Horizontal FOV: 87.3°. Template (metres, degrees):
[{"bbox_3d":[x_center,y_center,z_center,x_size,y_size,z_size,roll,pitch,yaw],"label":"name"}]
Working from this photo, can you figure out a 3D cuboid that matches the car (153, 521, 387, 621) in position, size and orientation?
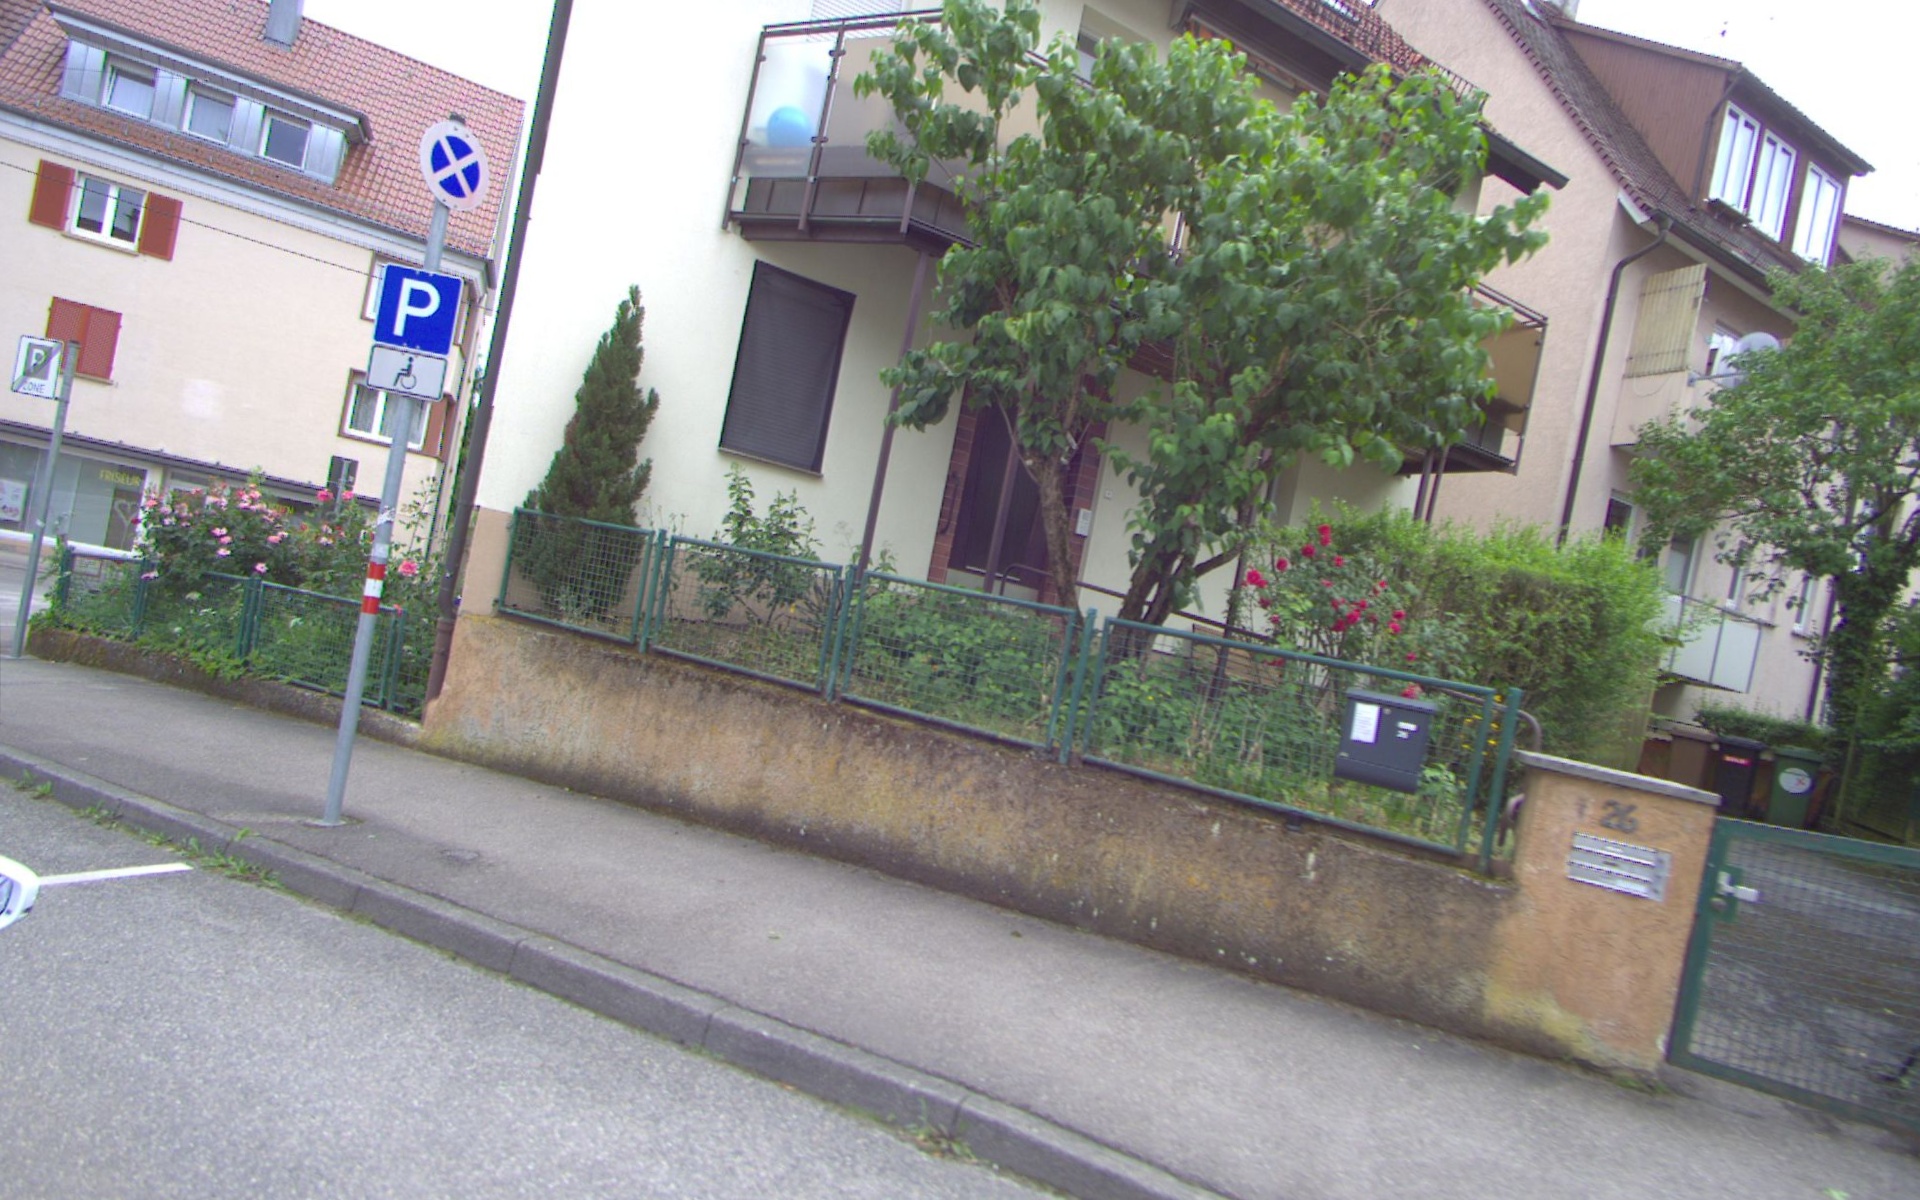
[{"bbox_3d":[-15.094,-0.587,22.292,3.874,1.465,1.688,11,-3,-25],"label":"car"}]
